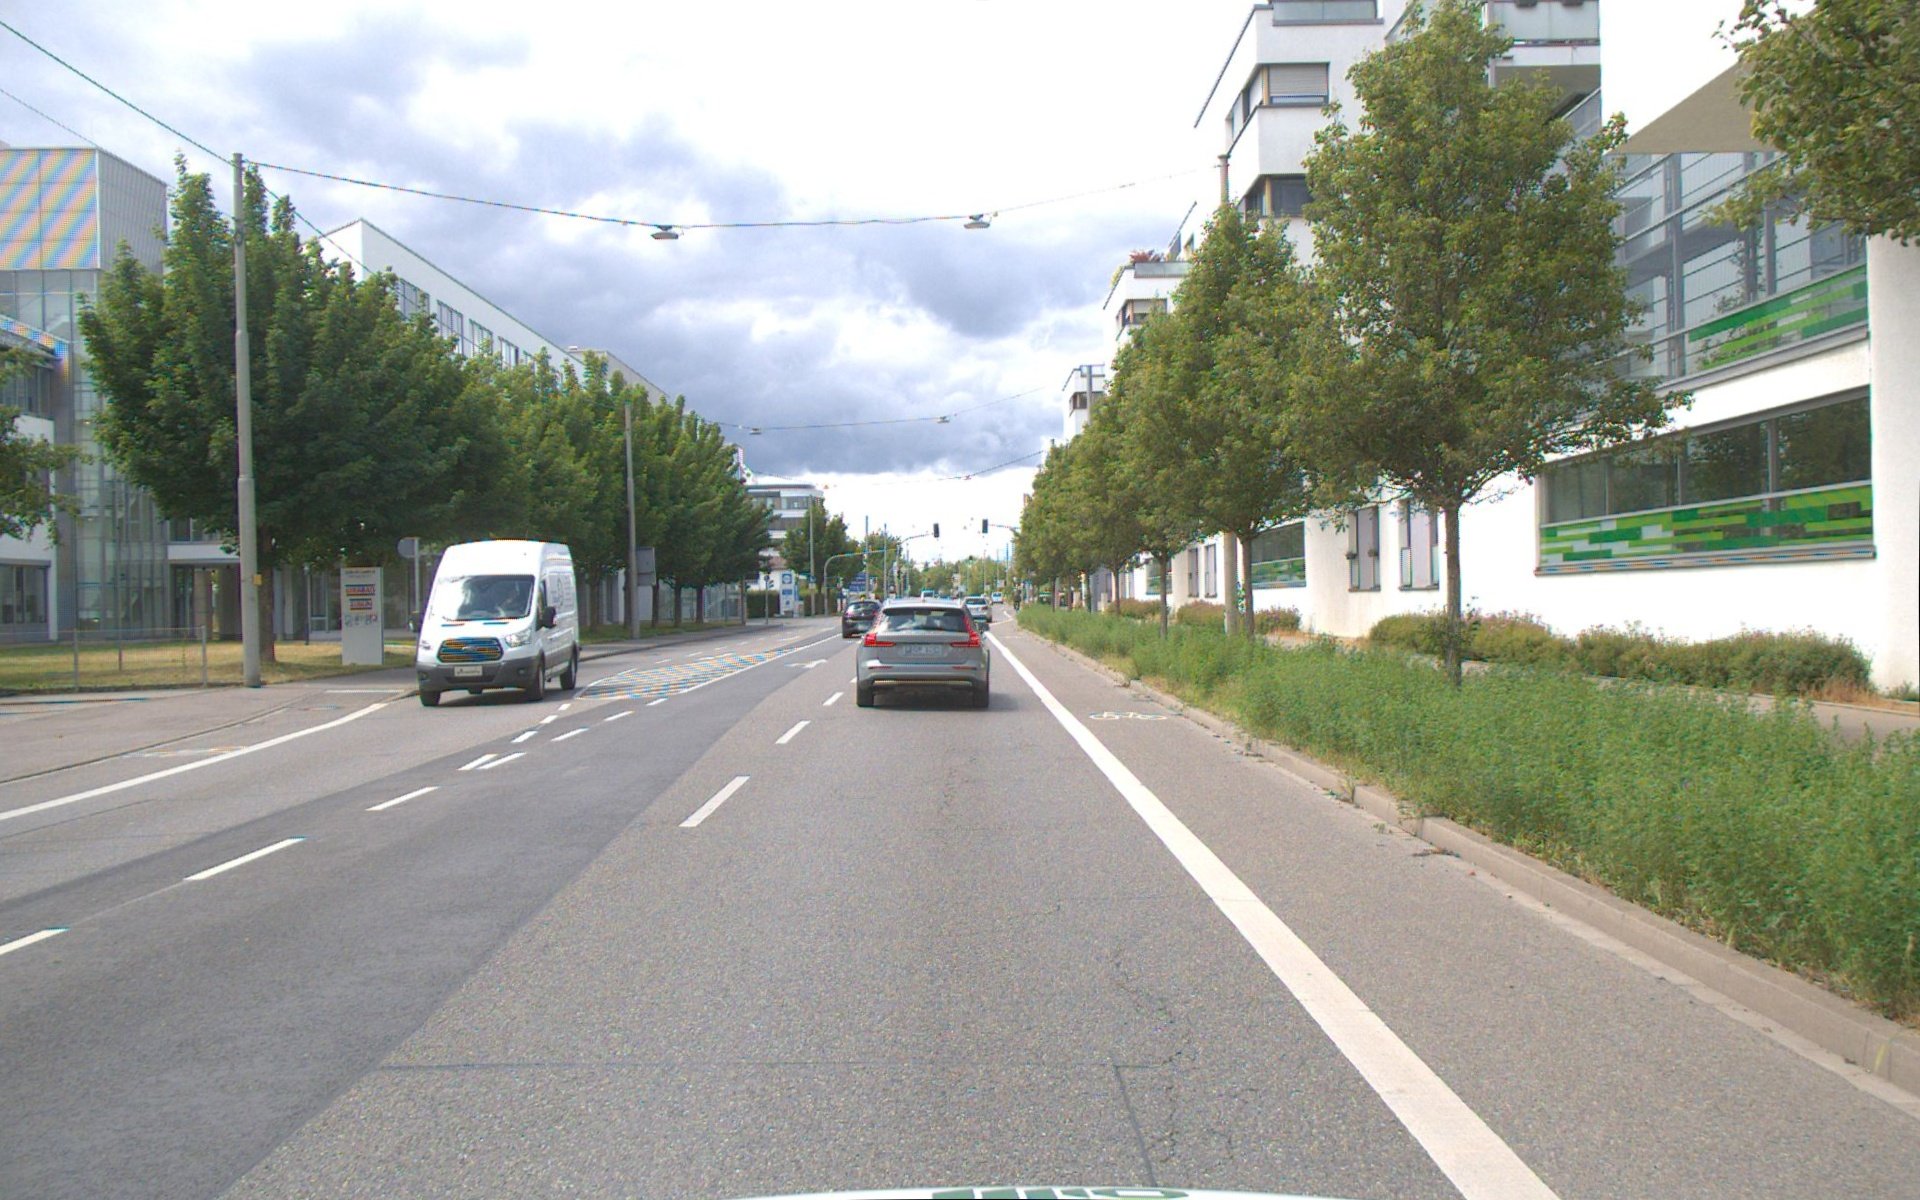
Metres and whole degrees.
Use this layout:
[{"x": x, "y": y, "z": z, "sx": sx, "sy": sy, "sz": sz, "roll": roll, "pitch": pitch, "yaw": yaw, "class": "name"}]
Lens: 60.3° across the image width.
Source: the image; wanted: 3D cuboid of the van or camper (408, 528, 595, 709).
[{"x": -7.956, "y": 0.279, "z": 29.327, "sx": 1.955, "sy": 2.781, "sz": 6.047, "roll": -3, "pitch": 0, "yaw": -5, "class": "van or camper"}]

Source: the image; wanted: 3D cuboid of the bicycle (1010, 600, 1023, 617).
[{"x": 5.153, "y": 0.773, "z": 150.898, "sx": 1.045, "sy": 1.478, "sz": 2.977, "roll": -3, "pitch": 0, "yaw": -1, "class": "bicycle"}]

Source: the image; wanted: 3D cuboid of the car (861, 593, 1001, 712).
[{"x": -0.429, "y": 0.683, "z": 23.740, "sx": 1.817, "sy": 1.539, "sz": 3.999, "roll": -1, "pitch": 0, "yaw": -1, "class": "car"}]

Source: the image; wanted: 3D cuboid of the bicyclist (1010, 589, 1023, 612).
[{"x": 5.126, "y": 0.009, "z": 150.824, "sx": 0.993, "sy": 2.048, "sz": 1.131, "roll": -3, "pitch": 0, "yaw": -1, "class": "bicyclist"}]

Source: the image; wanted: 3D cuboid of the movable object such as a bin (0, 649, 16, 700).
[{"x": -18.469, "y": 1.430, "z": 31.140, "sx": 0.730, "sy": 0.958, "sz": 1.000, "roll": -3, "pitch": 0, "yaw": 6, "class": "movable object such as a bin"}]

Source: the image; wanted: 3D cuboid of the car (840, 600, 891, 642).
[{"x": -3.675, "y": 0.788, "z": 64.586, "sx": 1.817, "sy": 1.539, "sz": 3.999, "roll": -1, "pitch": 0, "yaw": -1, "class": "car"}]

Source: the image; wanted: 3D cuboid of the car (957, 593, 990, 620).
[{"x": 0.742, "y": 0.364, "z": 96.480, "sx": 1.807, "sy": 1.539, "sz": 3.999, "roll": -1, "pitch": 0, "yaw": -1, "class": "car"}]
